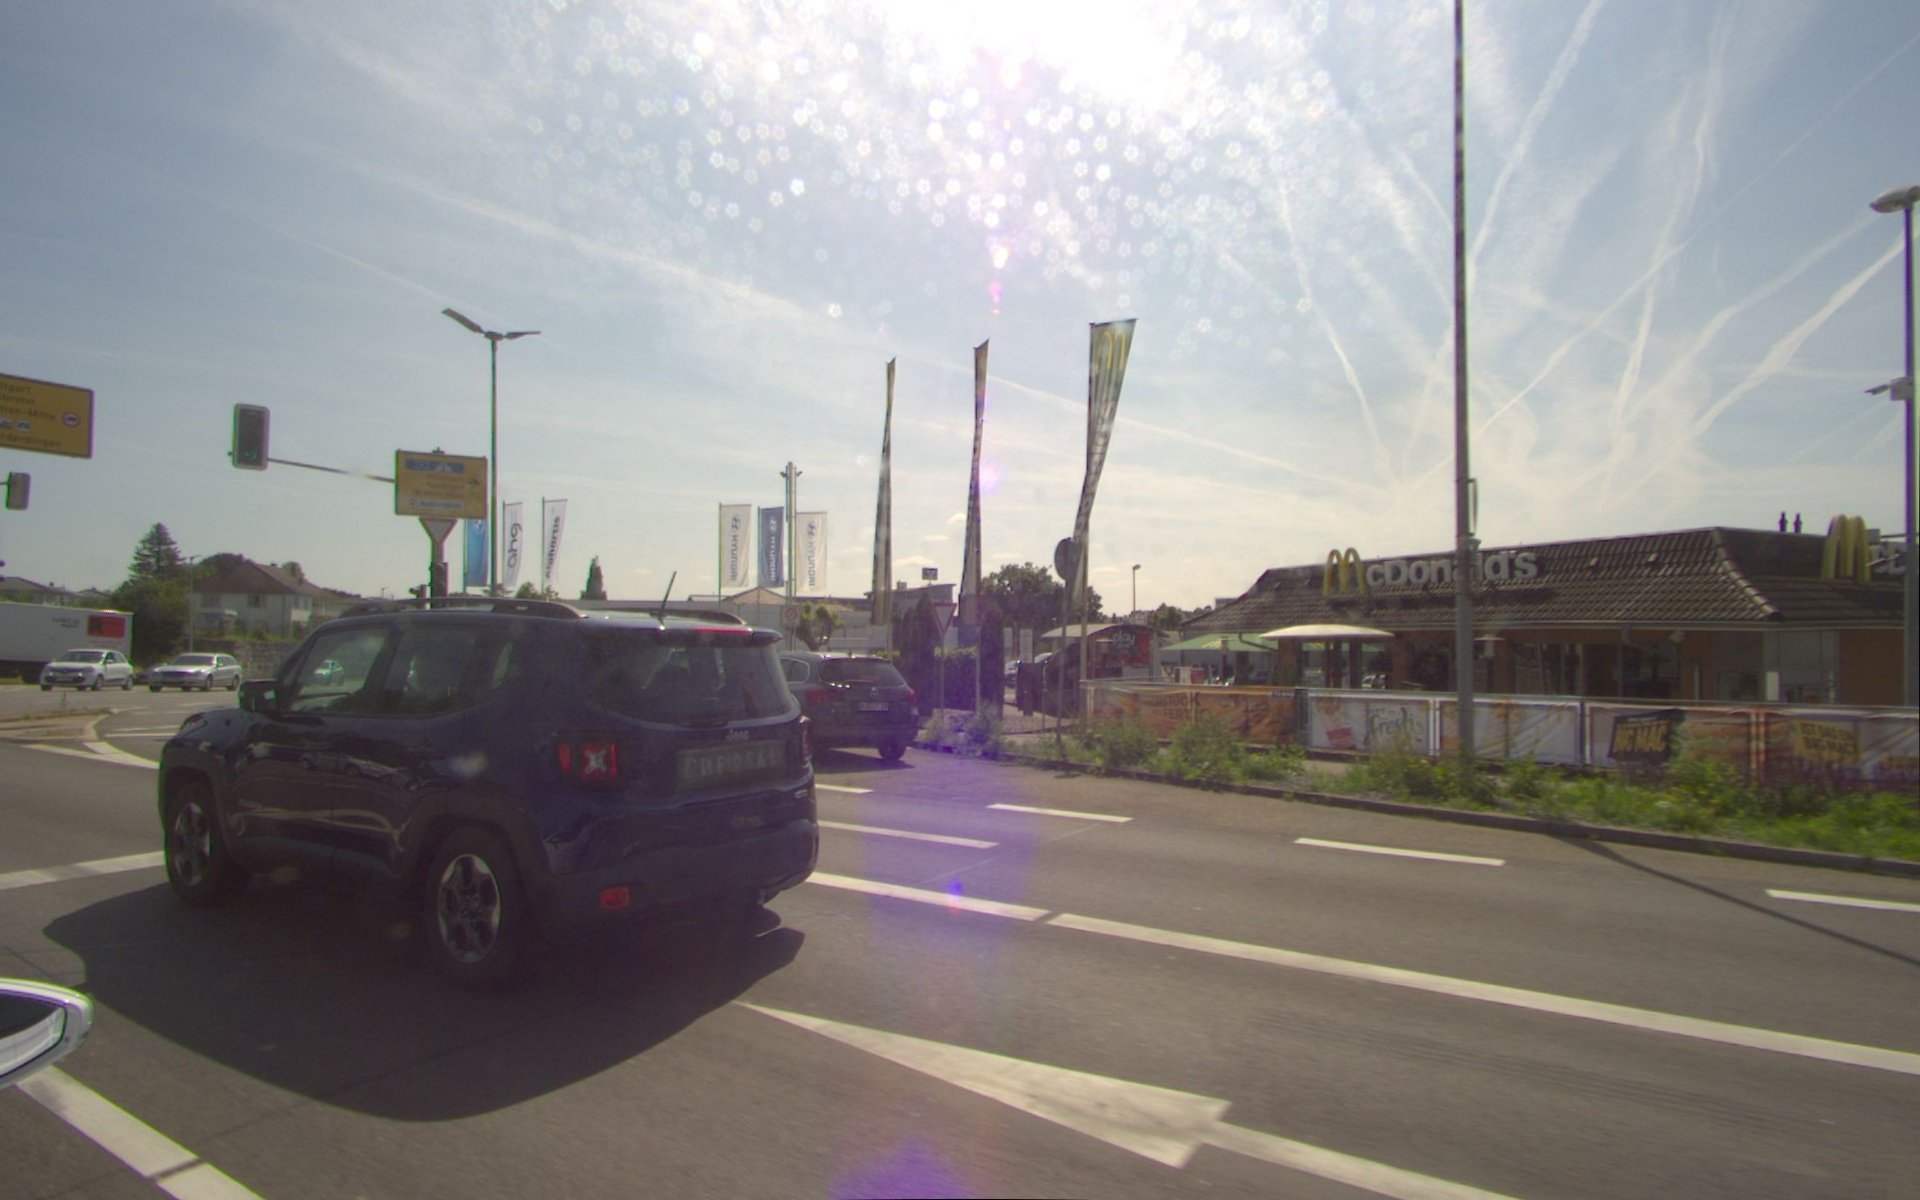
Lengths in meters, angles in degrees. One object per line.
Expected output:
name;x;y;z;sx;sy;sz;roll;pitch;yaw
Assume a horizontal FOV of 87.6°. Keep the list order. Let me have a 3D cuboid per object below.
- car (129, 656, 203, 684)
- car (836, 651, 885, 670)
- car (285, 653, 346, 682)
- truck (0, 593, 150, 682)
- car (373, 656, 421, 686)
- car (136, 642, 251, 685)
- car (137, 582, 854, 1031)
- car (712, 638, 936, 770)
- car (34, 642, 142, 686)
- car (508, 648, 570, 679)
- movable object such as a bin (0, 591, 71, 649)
car;-44.794;3.950;56.596;1.966;1.478;4.314;0;-3;-19
car;-9.243;5.598;92.877;4.118;1.639;2.004;0;-1;-20
car;-35.523;3.725;55.324;1.886;1.515;3.994;2;-4;-19
truck;-43.326;1.722;45.959;2.716;3.668;9.712;0;-6;14
car;-32.497;4.095;57.902;1.969;1.594;3.989;3;-4;-24
car;-29.578;2.508;38.846;1.966;1.523;4.994;2;-5;-18
car;-2.682;0.809;5.548;3.943;1.676;1.767;-1;-1;32
car;-2.174;1.374;14.717;1.969;1.539;4.431;0;-1;-26
car;-32.377;2.400;37.299;1.682;1.522;3.751;2;-5;-19
car;-30.122;4.484;71.574;4.018;2.062;2.061;1;-1;-26
movable object such as a bin;-56.055;1.207;59.392;2.853;3.249;6.685;0;-1;-22
